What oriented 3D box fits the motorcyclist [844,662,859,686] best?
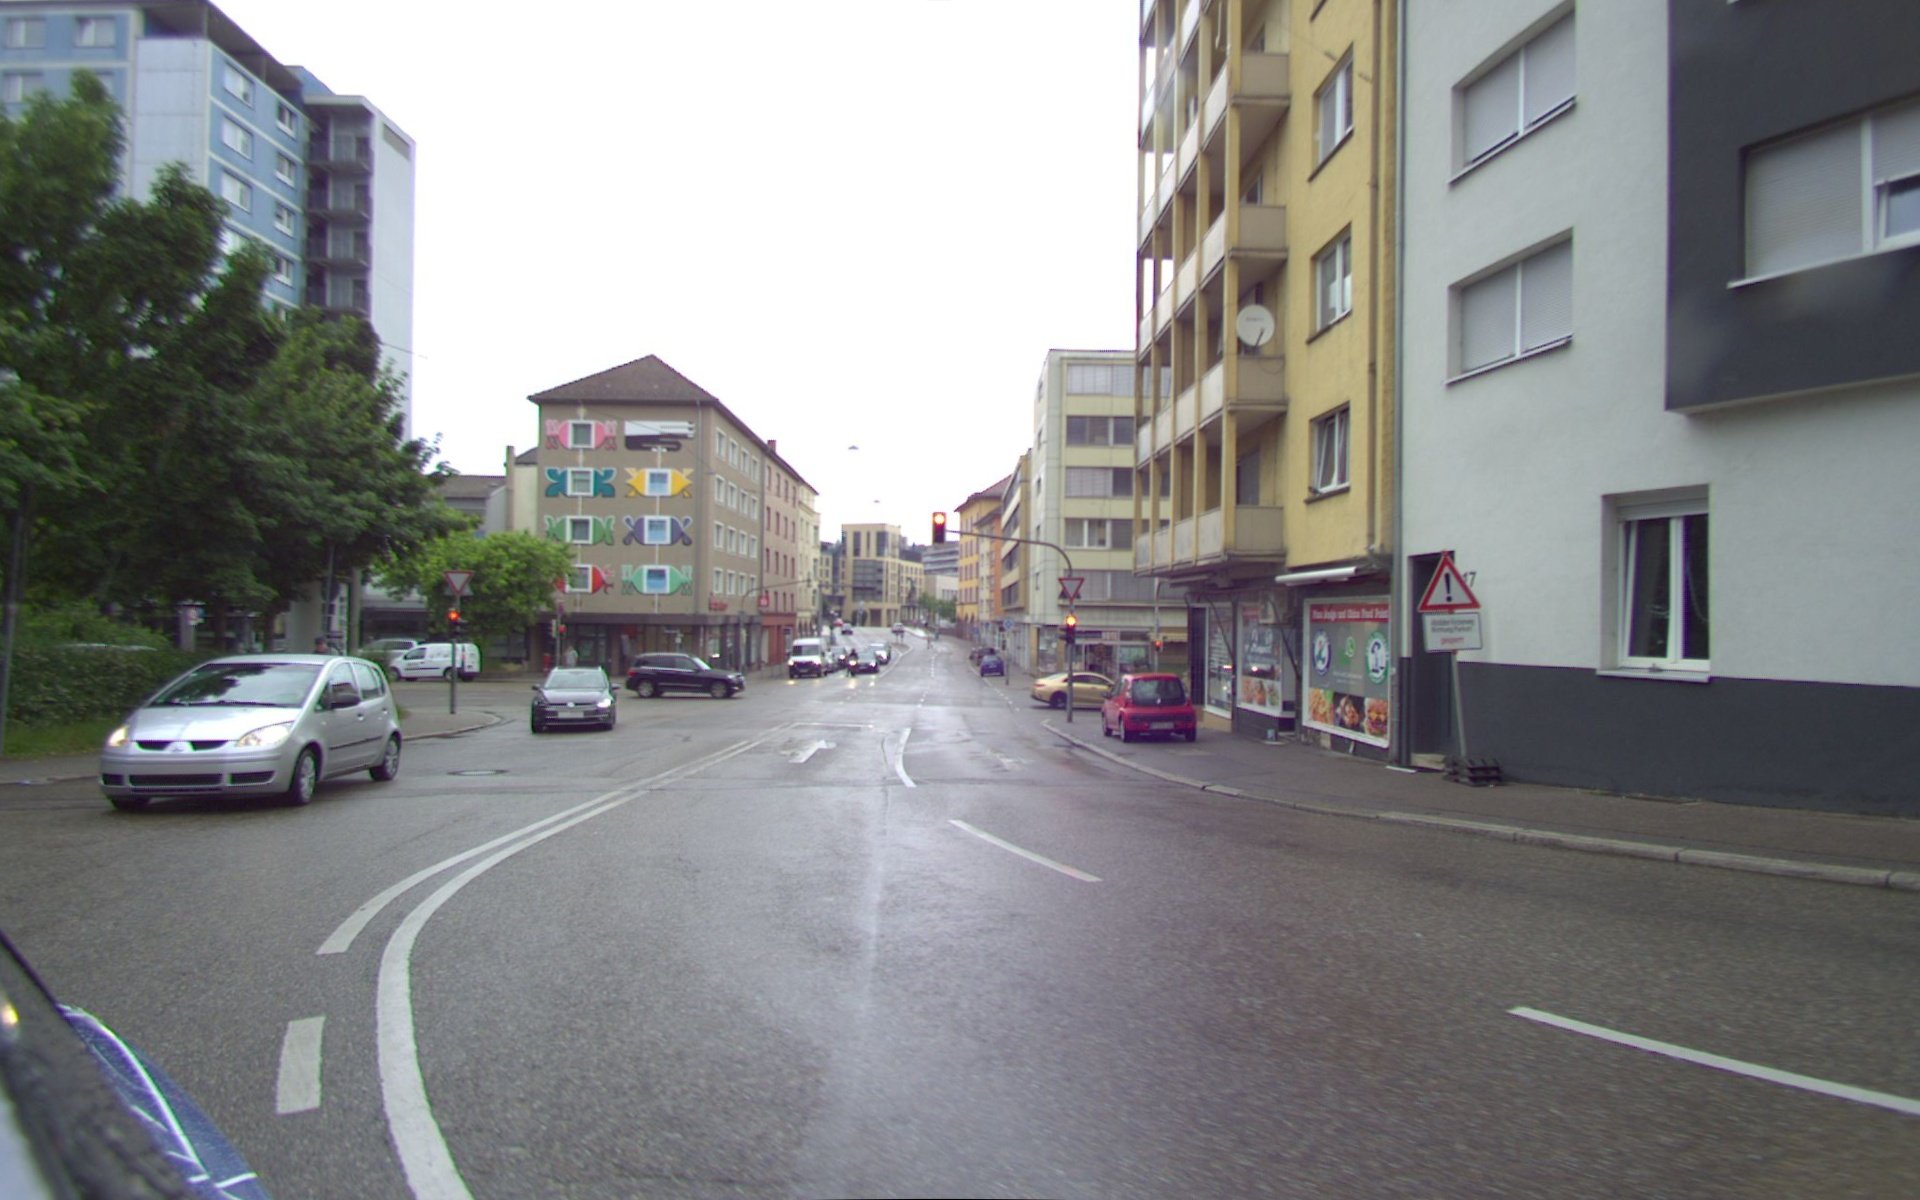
[{"bbox_3d":[-6.780,4.624,63.361,0.867,1.490,0.796,1,-3,0],"label":"motorcyclist"}]

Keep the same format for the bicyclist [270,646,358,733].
[{"bbox_3d":[-11.808,1.620,18.528,0.876,1.501,0.968,2,-4,0],"label":"bicyclist"}]

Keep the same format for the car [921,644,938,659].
[{"bbox_3d":[-3.524,5.974,116.990,1.824,1.579,4.368,-2,-3,0],"label":"car"}]

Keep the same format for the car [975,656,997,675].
[{"bbox_3d":[2.261,5.742,88.974,1.824,1.579,4.368,-2,-3,0],"label":"car"}]

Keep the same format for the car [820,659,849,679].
[{"bbox_3d":[-9.862,5.391,79.723,1.824,1.430,3.568,-2,-3,0],"label":"car"}]

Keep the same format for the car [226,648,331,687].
[{"bbox_3d":[-34.108,3.370,50.723,4.127,1.678,1.651,2,0,-1],"label":"car"}]

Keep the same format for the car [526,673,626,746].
[{"bbox_3d":[-9.084,2.537,24.258,1.660,1.516,4.513,0,-4,-13],"label":"car"}]

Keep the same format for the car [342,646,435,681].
[{"bbox_3d":[-31.336,3.485,55.521,4.127,1.678,1.651,2,0,-1],"label":"car"}]

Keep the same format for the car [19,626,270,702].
[{"bbox_3d":[-18.334,1.464,22.919,4.148,1.634,1.639,1,-5,-5],"label":"car"}]

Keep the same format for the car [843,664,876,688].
[{"bbox_3d":[-6.755,5.105,68.226,1.824,1.430,3.568,-2,-3,0],"label":"car"}]

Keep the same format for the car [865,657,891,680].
[{"bbox_3d":[-6.834,5.671,84.165,1.824,1.728,3.568,-2,-3,0],"label":"car"}]

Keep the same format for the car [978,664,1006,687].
[{"bbox_3d":[2.206,5.296,71.357,1.824,1.430,3.568,-2,-3,0],"label":"car"}]

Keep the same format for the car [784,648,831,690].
[{"bbox_3d":[-9.726,4.372,64.952,2.202,2.543,5.469,-1,-3,0],"label":"car"}]

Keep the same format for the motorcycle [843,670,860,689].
[{"bbox_3d":[-6.786,4.989,63.326,0.867,1.108,1.800,1,-3,0],"label":"motorcycle"}]

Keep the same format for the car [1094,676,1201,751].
[{"bbox_3d":[4.127,2.490,22.787,1.591,1.475,3.534,-2,-4,-2],"label":"car"}]

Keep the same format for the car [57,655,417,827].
[{"bbox_3d":[-7.486,1.446,11.006,1.660,1.516,3.846,2,-6,-11],"label":"car"}]

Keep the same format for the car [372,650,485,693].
[{"bbox_3d":[-24.818,3.334,47.359,4.174,1.869,1.990,1,-3,2],"label":"car"}]

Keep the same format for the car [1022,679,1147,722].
[{"bbox_3d":[4.742,3.880,39.110,4.516,1.452,1.991,1,-3,0],"label":"car"}]

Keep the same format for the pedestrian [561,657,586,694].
[{"bbox_3d":[-19.314,3.780,50.552,0.891,1.787,0.818,1,-3,-1],"label":"pedestrian"}]

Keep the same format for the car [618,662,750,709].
[{"bbox_3d":[-10.410,3.230,38.437,4.514,1.591,1.992,1,-3,-2],"label":"car"}]

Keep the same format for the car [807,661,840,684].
[{"bbox_3d":[-9.834,5.216,73.008,1.824,1.490,3.568,-2,-3,0],"label":"car"}]

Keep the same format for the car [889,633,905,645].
[{"bbox_3d":[-9.561,5.910,153.064,1.819,1.721,4.380,1,0,-12],"label":"car"}]
